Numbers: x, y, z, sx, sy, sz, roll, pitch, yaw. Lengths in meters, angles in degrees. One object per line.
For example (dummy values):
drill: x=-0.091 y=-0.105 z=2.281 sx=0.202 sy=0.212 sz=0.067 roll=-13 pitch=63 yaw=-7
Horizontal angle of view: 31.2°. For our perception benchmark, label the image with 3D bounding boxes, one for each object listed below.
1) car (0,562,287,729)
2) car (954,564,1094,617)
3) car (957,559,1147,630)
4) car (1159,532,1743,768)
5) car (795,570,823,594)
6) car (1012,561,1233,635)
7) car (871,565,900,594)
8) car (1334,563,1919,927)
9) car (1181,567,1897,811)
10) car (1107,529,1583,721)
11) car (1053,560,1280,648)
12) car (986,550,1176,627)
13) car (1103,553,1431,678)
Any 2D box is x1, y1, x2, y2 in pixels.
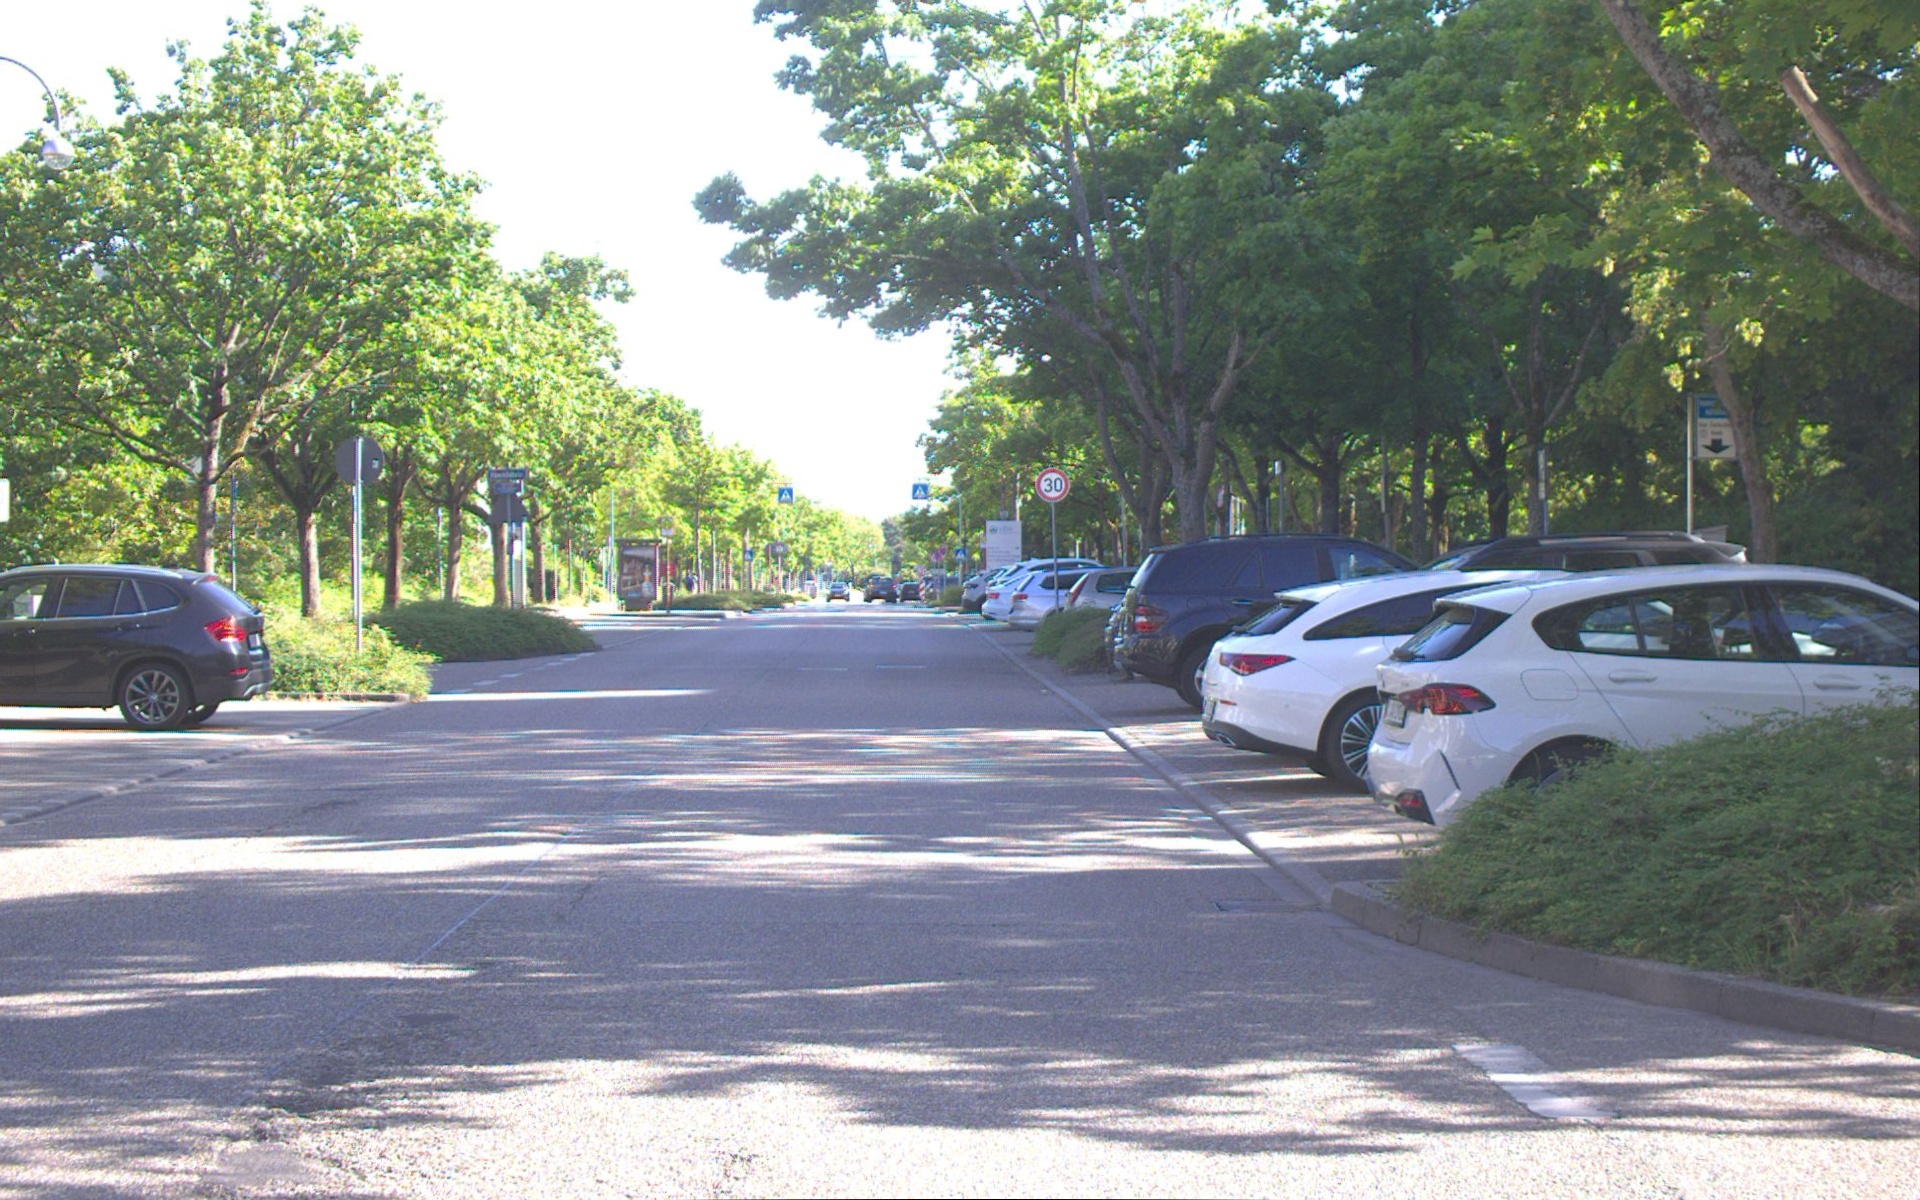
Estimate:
car: x=-8.660 y=0.405 z=32.642 sx=4.192 sy=1.515 sz=1.772 roll=1 pitch=0 yaw=0
car: x=1.948 y=-0.297 z=105.923 sx=4.164 sy=1.423 sz=2.000 roll=-3 pitch=0 yaw=-1
car: x=2.167 y=-0.139 z=81.556 sx=4.342 sy=1.484 sz=1.738 roll=-2 pitch=0 yaw=-2
car: x=3.690 y=0.372 z=26.293 sx=4.117 sy=1.612 sz=1.734 roll=-2 pitch=-1 yaw=-3
car: x=-11.463 y=-1.390 z=261.150 sx=1.993 sy=1.796 sz=4.000 roll=1 pitch=0 yaw=-1
car: x=3.208 y=-0.040 z=67.667 sx=4.275 sy=1.423 sz=1.827 roll=0 pitch=0 yaw=4
car: x=-5.209 y=-1.459 z=241.081 sx=1.993 sy=2.007 sz=4.000 roll=1 pitch=0 yaw=-1
car: x=4.235 y=0.639 z=17.058 sx=4.426 sy=1.587 sz=1.837 roll=-2 pitch=0 yaw=-3
car: x=3.815 y=0.572 z=23.139 sx=4.441 sy=1.540 sz=1.818 roll=1 pitch=0 yaw=-3
car: x=3.878 y=0.241 z=35.247 sx=4.586 sy=1.773 sz=2.000 roll=-2 pitch=0 yaw=-1
car: x=3.744 y=0.067 z=62.864 sx=3.987 sy=1.446 sz=1.717 roll=-2 pitch=1 yaw=0
car: x=2.947 y=-0.291 z=84.265 sx=4.434 sy=1.642 sz=1.816 roll=-3 pitch=1 yaw=-2
car: x=3.929 y=0.188 z=44.434 sx=3.987 sy=1.382 sz=1.822 roll=-3 pitch=1 yaw=-1
